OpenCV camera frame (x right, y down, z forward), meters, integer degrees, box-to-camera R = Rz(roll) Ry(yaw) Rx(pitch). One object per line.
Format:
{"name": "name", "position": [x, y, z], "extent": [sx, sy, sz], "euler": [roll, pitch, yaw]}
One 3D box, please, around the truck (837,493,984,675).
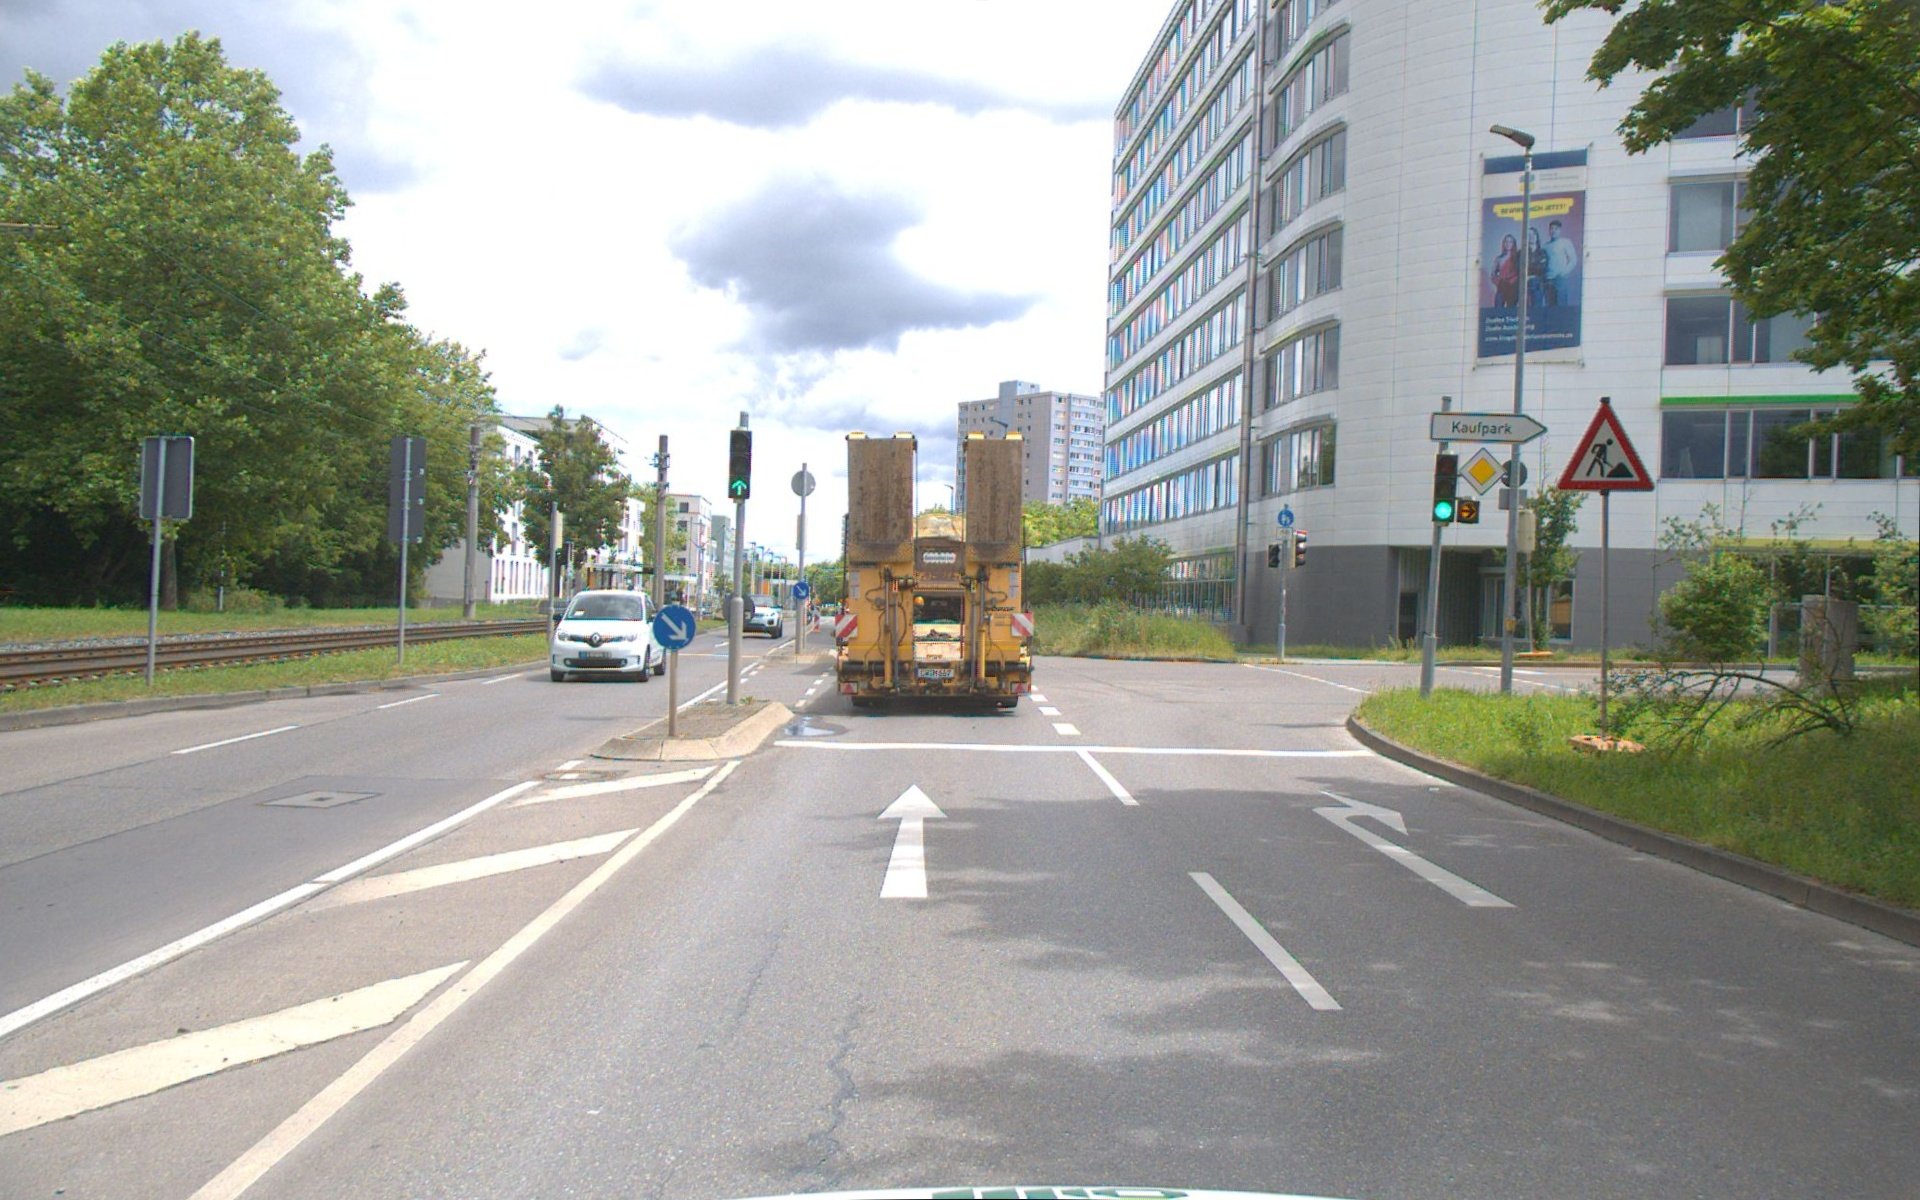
{"name": "truck", "position": [-1.151, -0.270, 35.779], "extent": [2.698, 3.371, 8.346], "euler": [2, -1, -3]}

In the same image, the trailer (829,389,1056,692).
{"name": "trailer", "position": [-0.551, -0.677, 26.003], "extent": [2.675, 3.621, 11.244], "euler": [2, -1, -4]}

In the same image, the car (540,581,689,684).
{"name": "car", "position": [-6.067, 0.559, 29.492], "extent": [1.693, 1.640, 4.263], "euler": [2, -1, 0]}

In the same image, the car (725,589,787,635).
{"name": "car", "position": [-7.774, 0.475, 63.488], "extent": [1.822, 1.638, 4.606], "euler": [2, -1, -1]}

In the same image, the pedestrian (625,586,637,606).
{"name": "pedestrian", "position": [-25.437, -0.311, 127.936], "extent": [0.726, 1.558, 0.547], "euler": [2, -1, 0]}
